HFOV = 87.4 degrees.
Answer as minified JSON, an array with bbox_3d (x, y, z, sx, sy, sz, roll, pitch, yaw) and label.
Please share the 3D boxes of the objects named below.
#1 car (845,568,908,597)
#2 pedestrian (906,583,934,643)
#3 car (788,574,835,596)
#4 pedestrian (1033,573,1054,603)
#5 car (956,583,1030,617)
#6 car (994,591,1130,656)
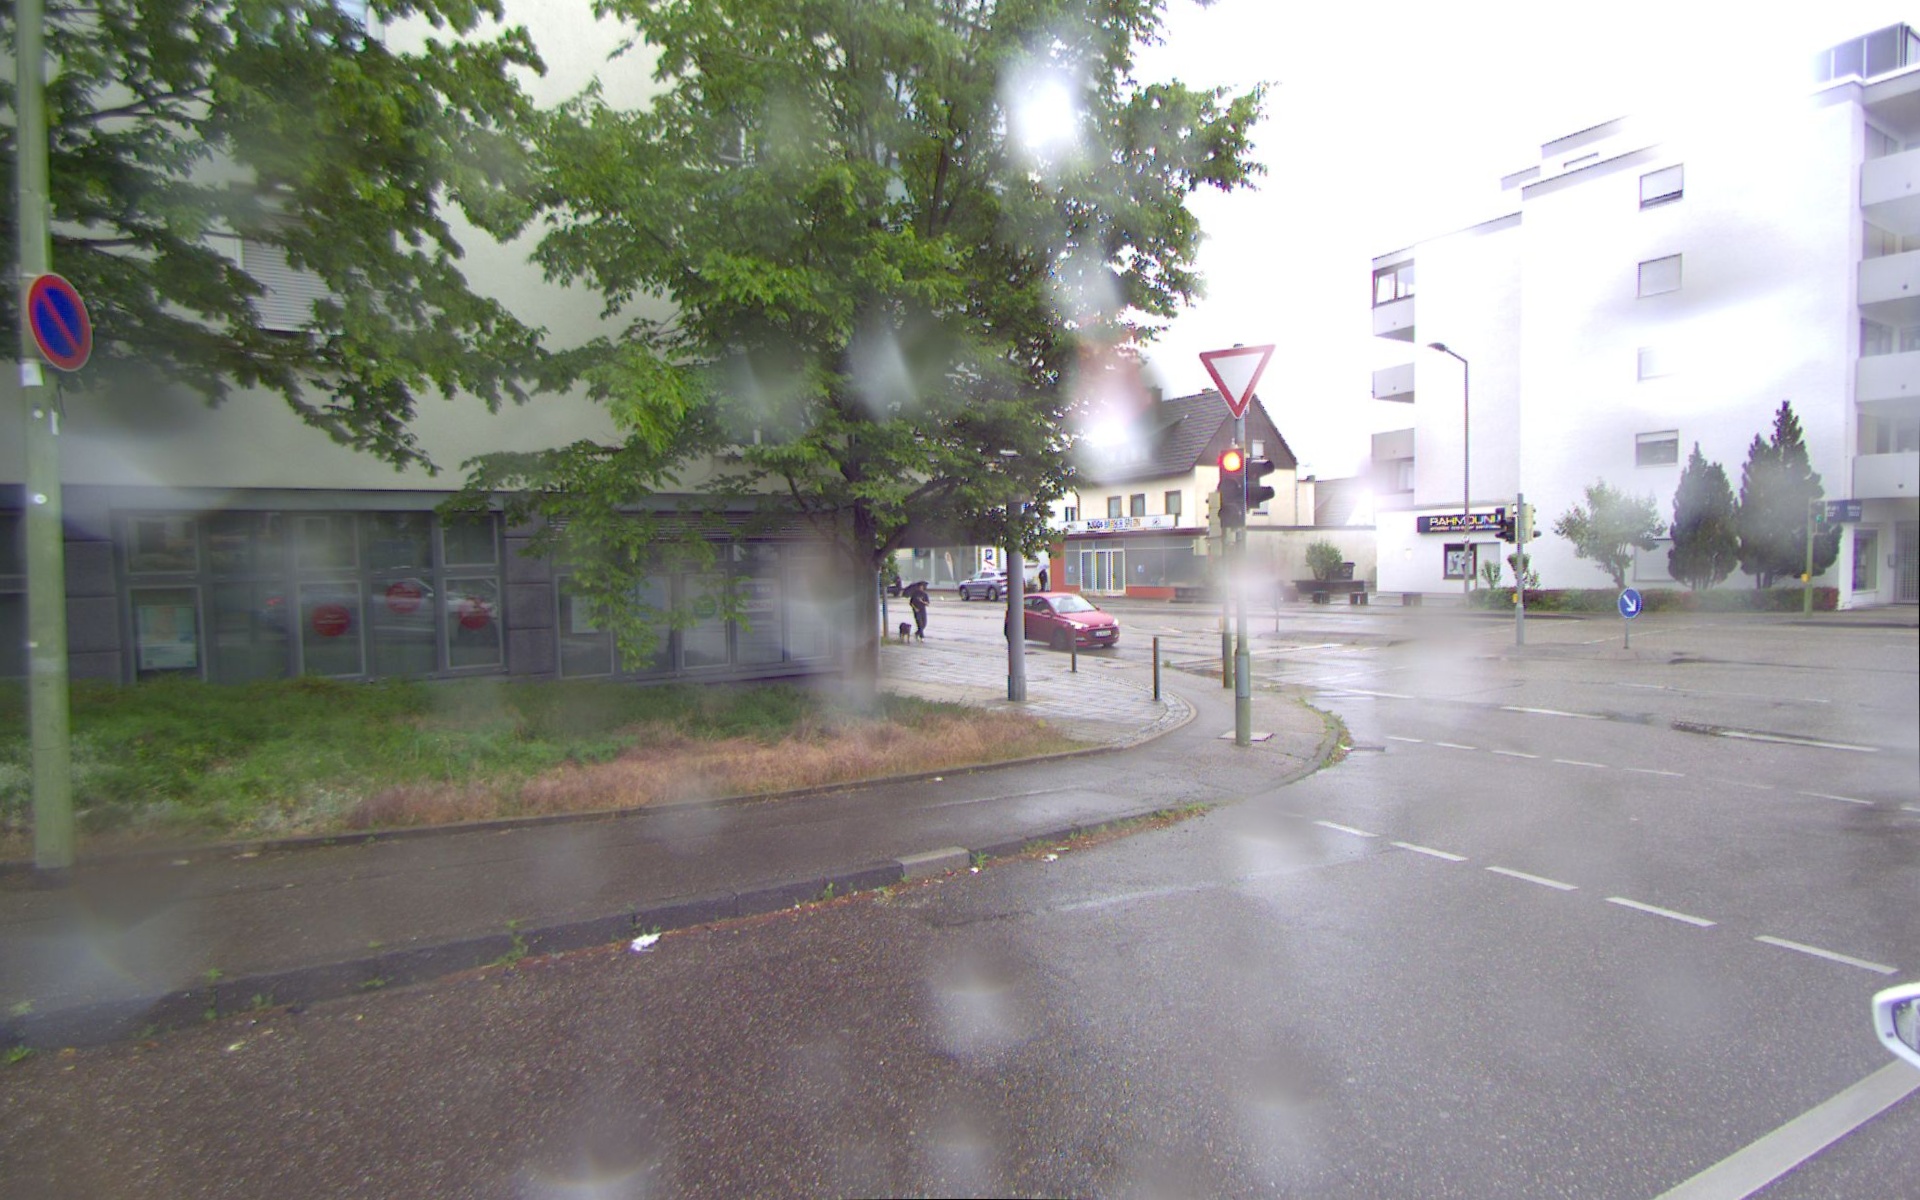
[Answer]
[{"bbox_3d":[-5.585,-1.125,66.822,2.020,1.718,4.917,-6,4,-33],"label":"car"},{"bbox_3d":[-1.202,0.373,30.042,0.657,1.725,0.945,-1,2,-11],"label":"pedestrian"},{"bbox_3d":[-11.100,-1.130,74.861,1.803,1.468,4.161,-5,4,-35],"label":"car"},{"bbox_3d":[4.544,-0.650,54.714,0.746,1.589,0.985,-1,1,-30],"label":"pedestrian"},{"bbox_3d":[1.783,-0.039,56.322,1.858,1.665,4.754,-6,3,-30],"label":"car"},{"bbox_3d":[2.777,0.579,28.135,1.759,1.527,4.073,-6,3,-28],"label":"car"}]
